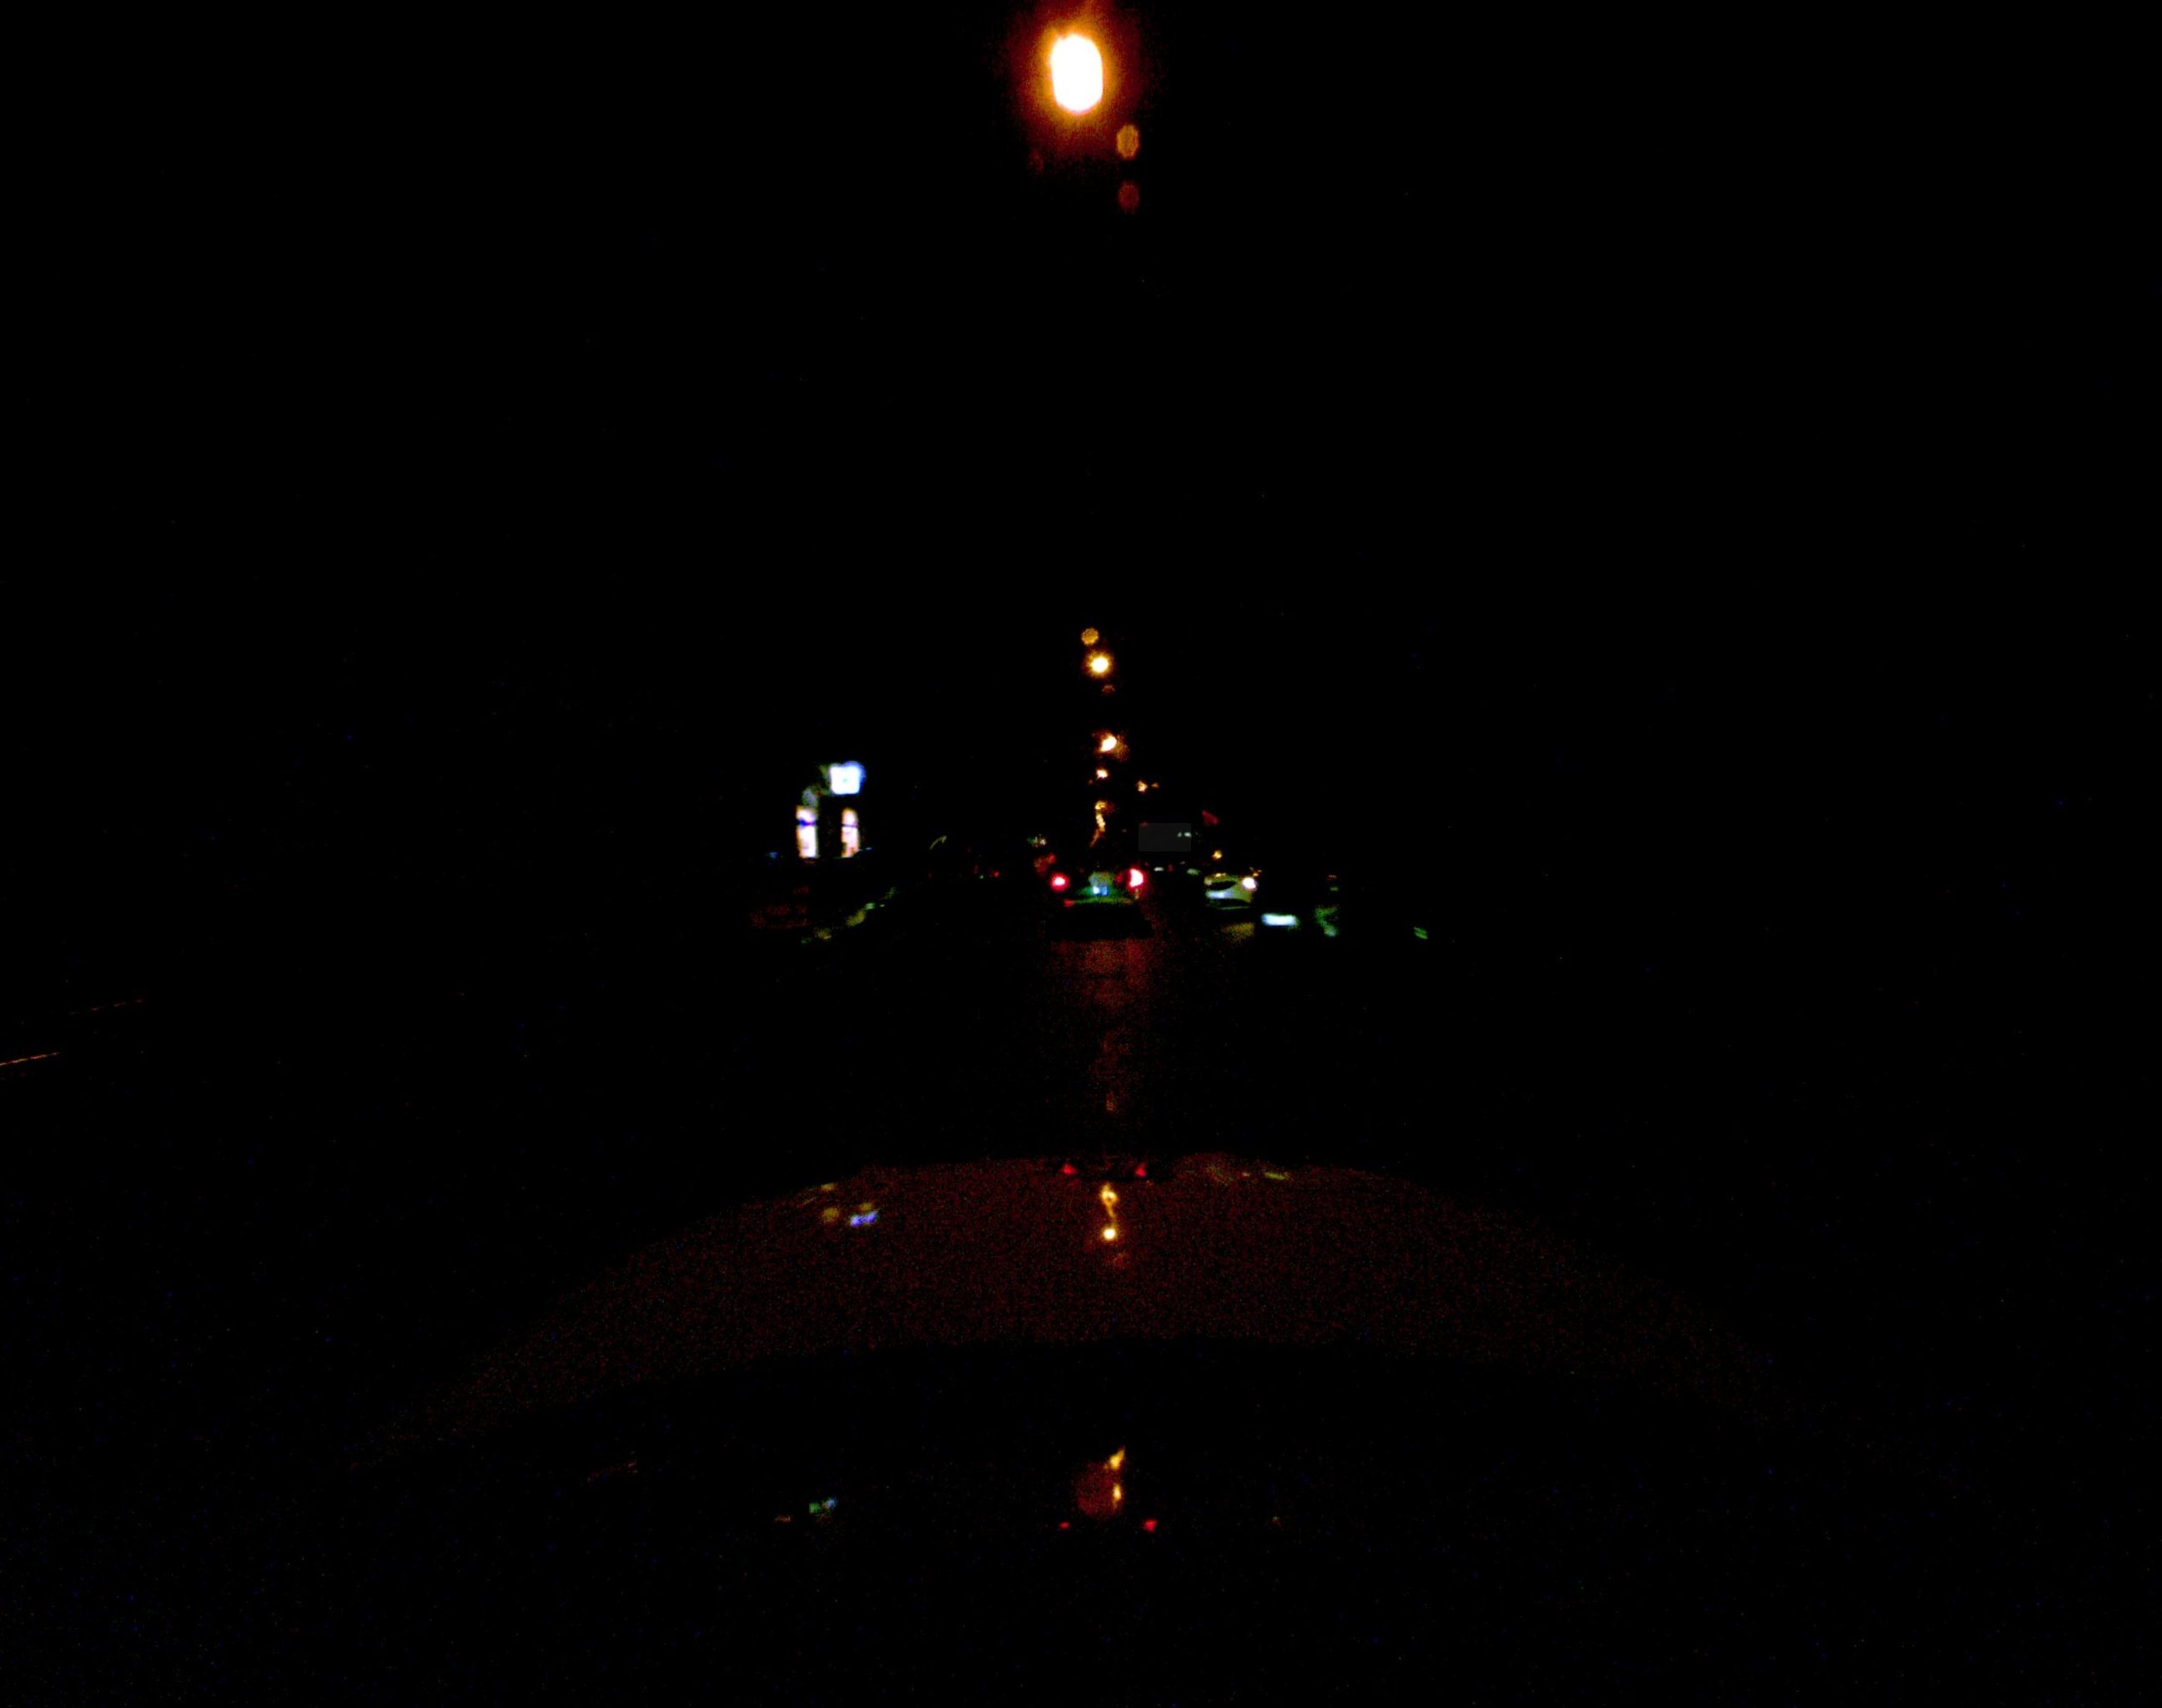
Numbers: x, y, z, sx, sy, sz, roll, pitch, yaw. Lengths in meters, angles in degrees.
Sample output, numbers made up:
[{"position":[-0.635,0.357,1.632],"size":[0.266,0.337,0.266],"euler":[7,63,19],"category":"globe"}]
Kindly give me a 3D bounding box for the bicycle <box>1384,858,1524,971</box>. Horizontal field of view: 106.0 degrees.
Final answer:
[{"position":[4.348,0.653,9.657],"size":[0.584,1.172,1.859],"euler":[-1,0,-8],"category":"bicycle"}]

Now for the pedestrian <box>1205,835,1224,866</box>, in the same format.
[{"position":[8.261,-0.196,50.495],"size":[0.866,1.855,0.993],"euler":[-4,0,-1],"category":"pedestrian"}]

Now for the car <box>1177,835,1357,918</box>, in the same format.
[{"position":[4.079,0.441,17.757],"size":[3.663,1.542,1.545],"euler":[-3,0,-29],"category":"car"}]

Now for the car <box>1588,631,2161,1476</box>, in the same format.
[{"position":[3.969,0.337,3.199],"size":[4.265,1.858,1.698],"euler":[-4,0,-34],"category":"car"}]

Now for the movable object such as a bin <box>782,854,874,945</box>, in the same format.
[{"position":[-4.216,0.724,13.667],"size":[1.160,1.459,1.108],"euler":[0,0,3],"category":"movable object such as a bin"}]

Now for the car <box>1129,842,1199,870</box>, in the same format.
[{"position":[5.251,0.127,51.666],"size":[4.006,1.492,1.721],"euler":[-4,0,-24],"category":"car"}]

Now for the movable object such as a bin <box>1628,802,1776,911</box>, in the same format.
[{"position":[8.921,0.031,11.753],"size":[1.251,1.372,0.999],"euler":[-6,0,1],"category":"movable object such as a bin"}]

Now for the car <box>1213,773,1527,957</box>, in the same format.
[{"position":[4.406,0.069,12.117],"size":[4.746,2.248,1.926],"euler":[-3,0,-35],"category":"car"}]

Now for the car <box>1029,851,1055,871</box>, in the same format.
[{"position":[-2.986,0.537,62.750],"size":[1.581,1.482,3.796],"euler":[-1,0,3],"category":"car"}]

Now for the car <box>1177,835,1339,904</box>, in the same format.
[{"position":[4.715,0.379,21.492],"size":[4.018,1.552,1.978],"euler":[-3,0,-36],"category":"car"}]

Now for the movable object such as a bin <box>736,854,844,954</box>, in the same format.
[{"position":[-4.407,0.730,12.442],"size":[1.203,1.459,1.108],"euler":[0,0,3],"category":"movable object such as a bin"}]

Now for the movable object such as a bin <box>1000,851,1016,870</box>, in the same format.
[{"position":[-5.566,0.508,62.321],"size":[1.043,1.398,1.159],"euler":[0,0,4],"category":"movable object such as a bin"}]

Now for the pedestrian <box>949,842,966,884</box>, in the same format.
[{"position":[-5.417,0.378,35.830],"size":[0.589,1.820,0.795],"euler":[1,0,1],"category":"pedestrian"}]

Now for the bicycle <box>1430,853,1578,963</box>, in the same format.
[{"position":[4.982,0.582,9.740],"size":[0.584,1.172,1.859],"euler":[-1,0,-8],"category":"bicycle"}]

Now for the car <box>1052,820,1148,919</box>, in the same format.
[{"position":[0.458,0.333,19.205],"size":[1.986,2.050,4.001],"euler":[-1,-1,2],"category":"car"}]

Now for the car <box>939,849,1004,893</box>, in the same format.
[{"position":[-3.906,0.577,29.739],"size":[1.680,1.455,4.317],"euler":[-1,1,1],"category":"car"}]

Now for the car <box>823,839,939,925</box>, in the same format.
[{"position":[-4.391,0.556,18.396],"size":[1.598,1.706,3.722],"euler":[-1,0,1],"category":"car"}]

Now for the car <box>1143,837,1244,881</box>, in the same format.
[{"position":[4.360,0.182,31.297],"size":[3.700,1.460,1.586],"euler":[-3,0,-36],"category":"car"}]

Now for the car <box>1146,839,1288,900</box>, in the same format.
[{"position":[4.100,0.427,24.368],"size":[4.016,1.552,1.785],"euler":[-3,0,-34],"category":"car"}]

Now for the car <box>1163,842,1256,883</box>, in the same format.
[{"position":[5.494,0.336,34.775],"size":[3.662,1.580,1.578],"euler":[-2,0,-27],"category":"car"}]

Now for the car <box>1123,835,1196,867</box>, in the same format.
[{"position":[5.544,-0.237,57.430],"size":[4.814,2.048,2.047],"euler":[-2,1,-29],"category":"car"}]

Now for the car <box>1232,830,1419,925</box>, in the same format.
[{"position":[4.682,0.396,15.454],"size":[3.415,1.542,1.560],"euler":[-3,0,-35],"category":"car"}]

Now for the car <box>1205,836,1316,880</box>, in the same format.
[{"position":[6.745,0.136,30.524],"size":[4.014,1.452,1.671],"euler":[-3,0,-32],"category":"car"}]

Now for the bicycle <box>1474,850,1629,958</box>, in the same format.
[{"position":[5.606,0.540,9.842],"size":[0.584,1.172,1.859],"euler":[-1,0,-8],"category":"bicycle"}]

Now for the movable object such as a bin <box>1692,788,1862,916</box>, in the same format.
[{"position":[8.960,-0.024,10.546],"size":[1.204,1.451,0.999],"euler":[-6,0,1],"category":"movable object such as a bin"}]

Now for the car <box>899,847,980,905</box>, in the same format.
[{"position":[-4.119,0.579,24.250],"size":[1.597,1.552,4.026],"euler":[-1,1,1],"category":"car"}]

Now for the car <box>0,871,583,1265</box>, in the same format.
[{"position":[-4.773,0.842,4.242],"size":[1.648,1.359,4.223],"euler":[-1,0,1],"category":"car"}]

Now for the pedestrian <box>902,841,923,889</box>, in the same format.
[{"position":[-6.453,0.421,31.198],"size":[0.637,1.781,0.549],"euler":[-2,0,2],"category":"pedestrian"}]

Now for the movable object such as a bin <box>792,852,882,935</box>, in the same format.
[{"position":[-4.436,0.685,14.905],"size":[1.257,1.459,1.152],"euler":[0,0,3],"category":"movable object such as a bin"}]

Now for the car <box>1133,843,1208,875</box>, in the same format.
[{"position":[4.616,0.269,41.762],"size":[3.668,1.581,1.575],"euler":[1,-1,-35],"category":"car"}]

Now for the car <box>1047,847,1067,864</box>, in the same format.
[{"position":[-2.323,0.112,78.375],"size":[1.808,1.557,4.073],"euler":[-1,0,-2],"category":"car"}]
